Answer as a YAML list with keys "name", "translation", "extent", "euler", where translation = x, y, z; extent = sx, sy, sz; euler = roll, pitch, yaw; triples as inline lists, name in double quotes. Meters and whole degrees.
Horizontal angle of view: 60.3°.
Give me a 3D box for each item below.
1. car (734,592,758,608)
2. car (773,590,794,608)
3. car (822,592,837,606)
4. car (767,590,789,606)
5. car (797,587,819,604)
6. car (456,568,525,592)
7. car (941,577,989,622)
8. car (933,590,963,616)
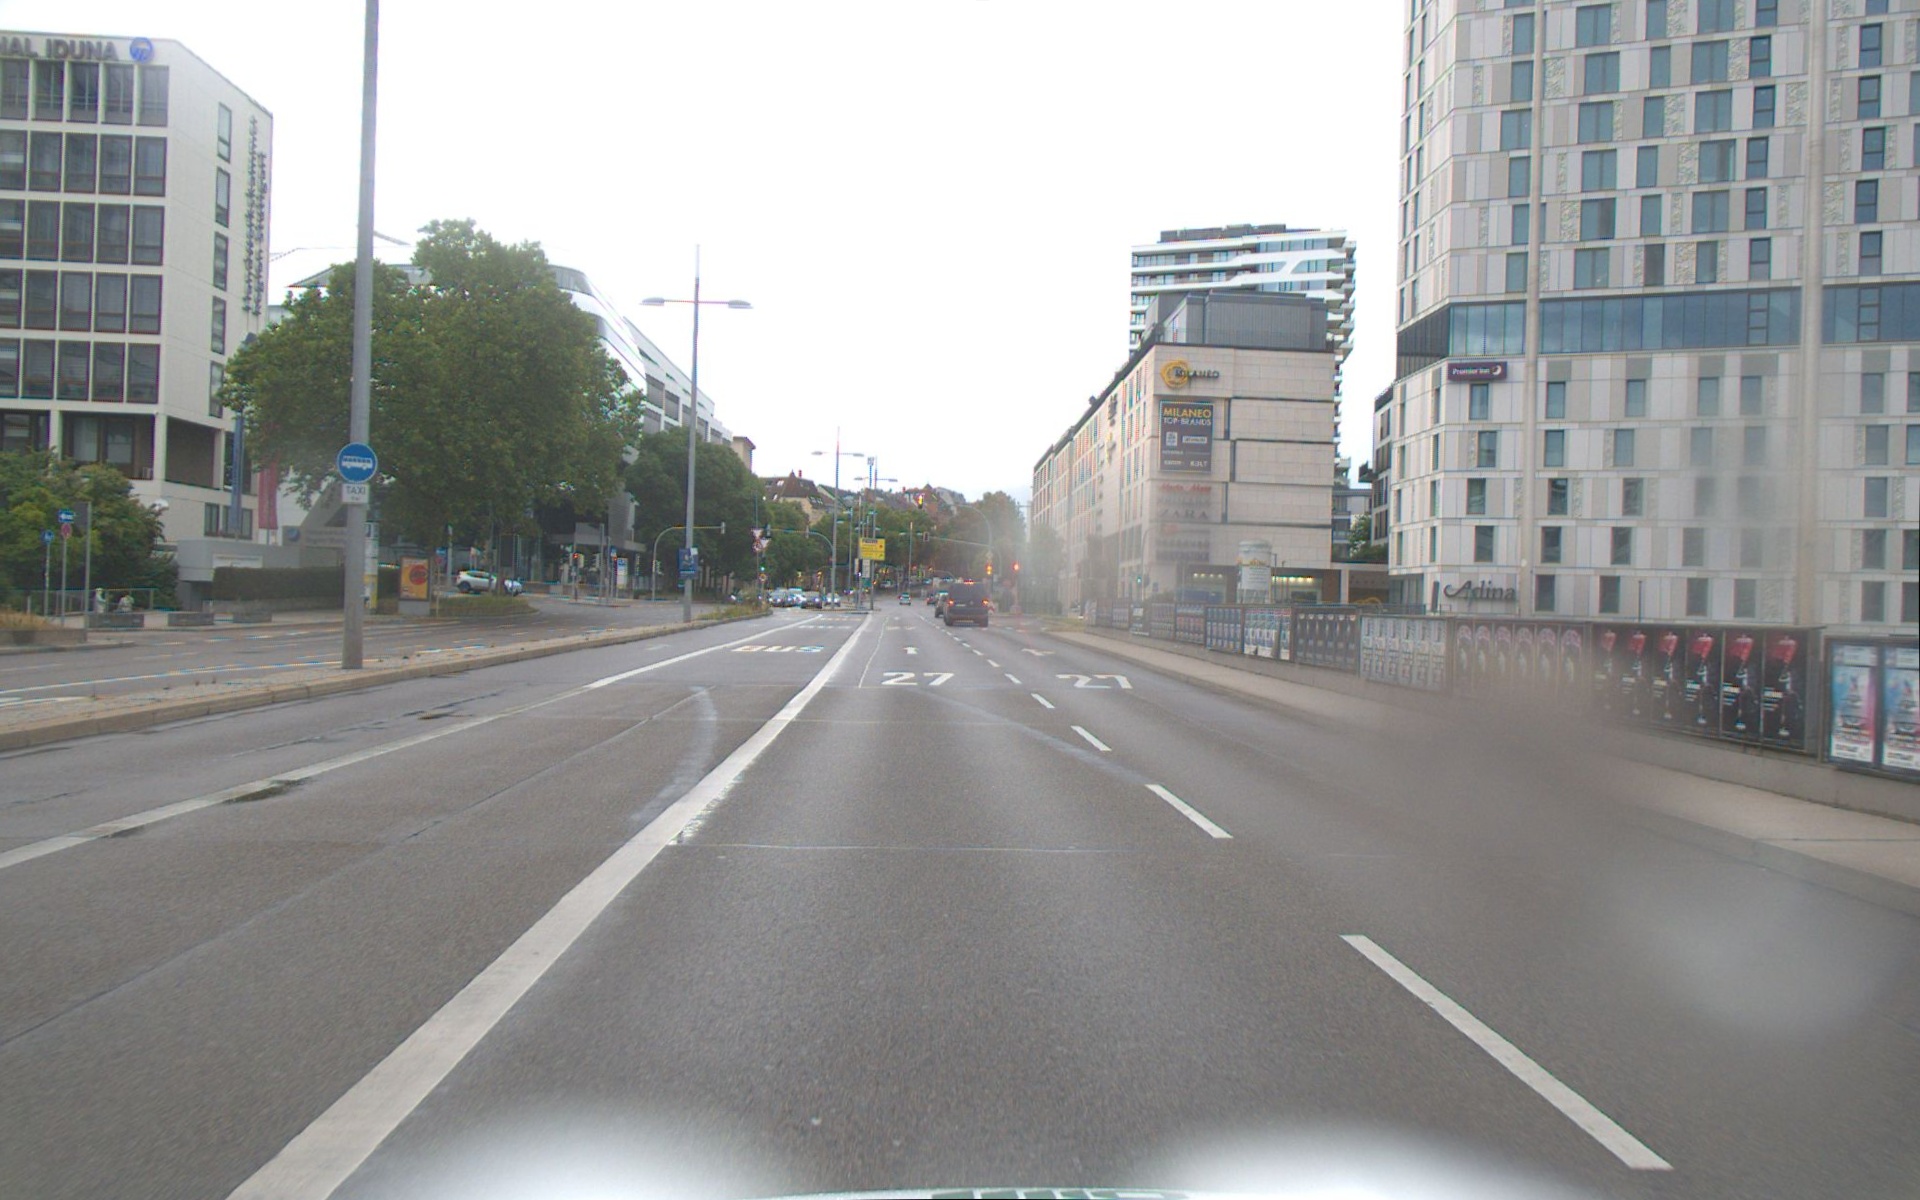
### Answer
- name: "car"
  translation: [-19.013, -0.030, 147.102]
  extent: [1.708, 1.352, 4.224]
  euler: [1, -1, -2]
- name: "car"
  translation: [-16.472, -0.056, 154.685]
  extent: [1.708, 1.586, 3.538]
  euler: [1, -1, -2]
- name: "car"
  translation: [-14.298, -0.100, 181.072]
  extent: [1.507, 1.503, 3.694]
  euler: [1, -1, -2]
- name: "car"
  translation: [-16.248, -0.185, 147.724]
  extent: [1.708, 1.279, 3.538]
  euler: [2, 1, -2]
- name: "car"
  translation: [-13.469, -0.407, 146.606]
  extent: [1.708, 1.470, 3.393]
  euler: [1, -1, -2]
- name: "car"
  translation: [-33.899, -1.434, 119.371]
  extent: [4.405, 1.660, 1.896]
  euler: [0, -1, 14]
- name: "car"
  translation: [0.203, -0.050, 76.686]
  extent: [1.992, 1.915, 5.040]
  euler: [-2, 1, -2]
- name: "car"
  translation: [-0.745, 0.218, 101.360]
  extent: [1.705, 1.558, 3.812]
  euler: [1, -1, -2]
